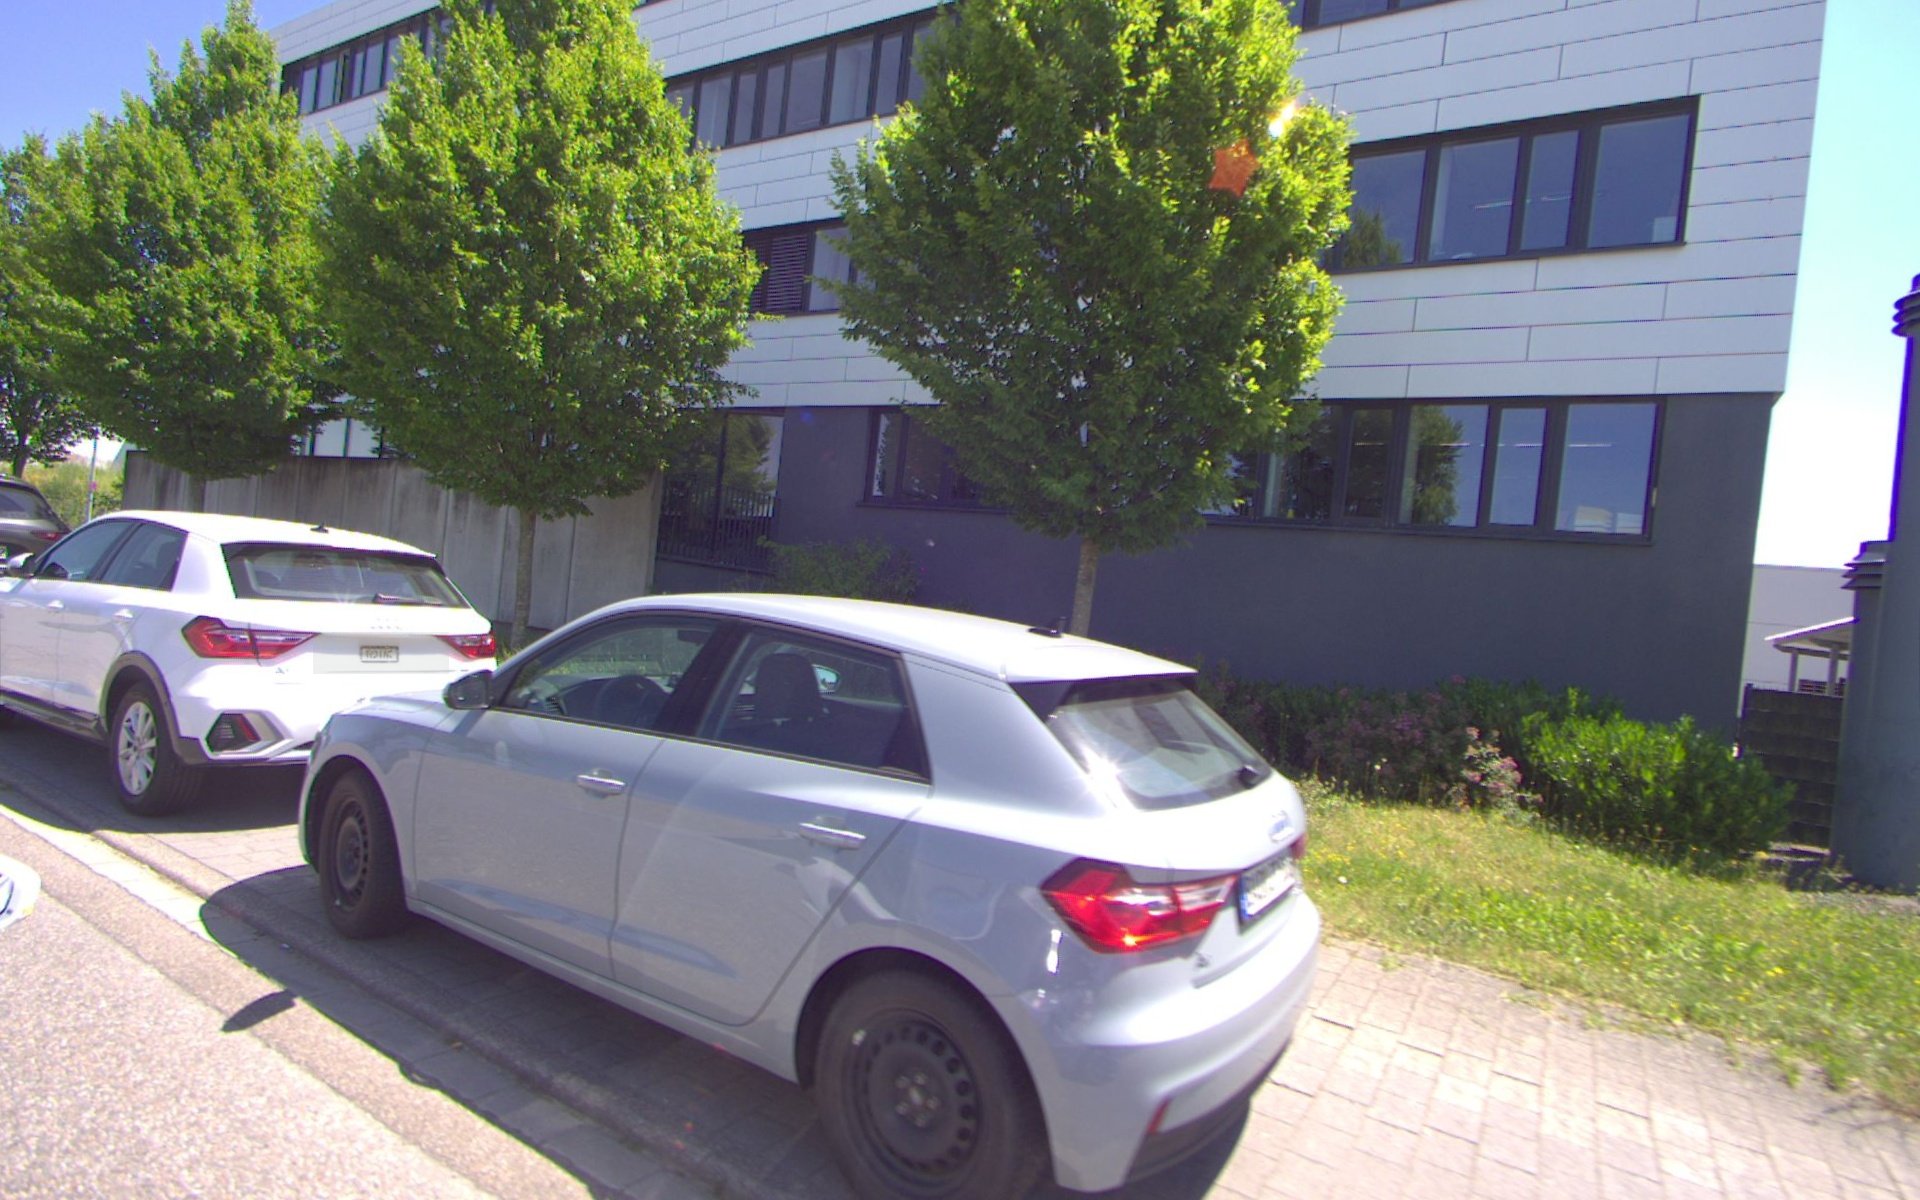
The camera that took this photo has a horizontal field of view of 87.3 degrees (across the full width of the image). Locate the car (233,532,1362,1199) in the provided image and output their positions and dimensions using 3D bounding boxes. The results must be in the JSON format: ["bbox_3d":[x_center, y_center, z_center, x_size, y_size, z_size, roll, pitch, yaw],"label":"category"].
[{"bbox_3d":[-0.794,0.656,3.725,3.886,1.442,1.716,6,2,32],"label":"car"}]

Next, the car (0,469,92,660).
[{"bbox_3d":[-10.416,-0.519,9.785,4.291,1.684,1.758,6,1,32],"label":"car"}]

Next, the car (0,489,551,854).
[{"bbox_3d":[-4.530,0.204,6.141,3.965,1.501,1.716,6,2,32],"label":"car"}]
